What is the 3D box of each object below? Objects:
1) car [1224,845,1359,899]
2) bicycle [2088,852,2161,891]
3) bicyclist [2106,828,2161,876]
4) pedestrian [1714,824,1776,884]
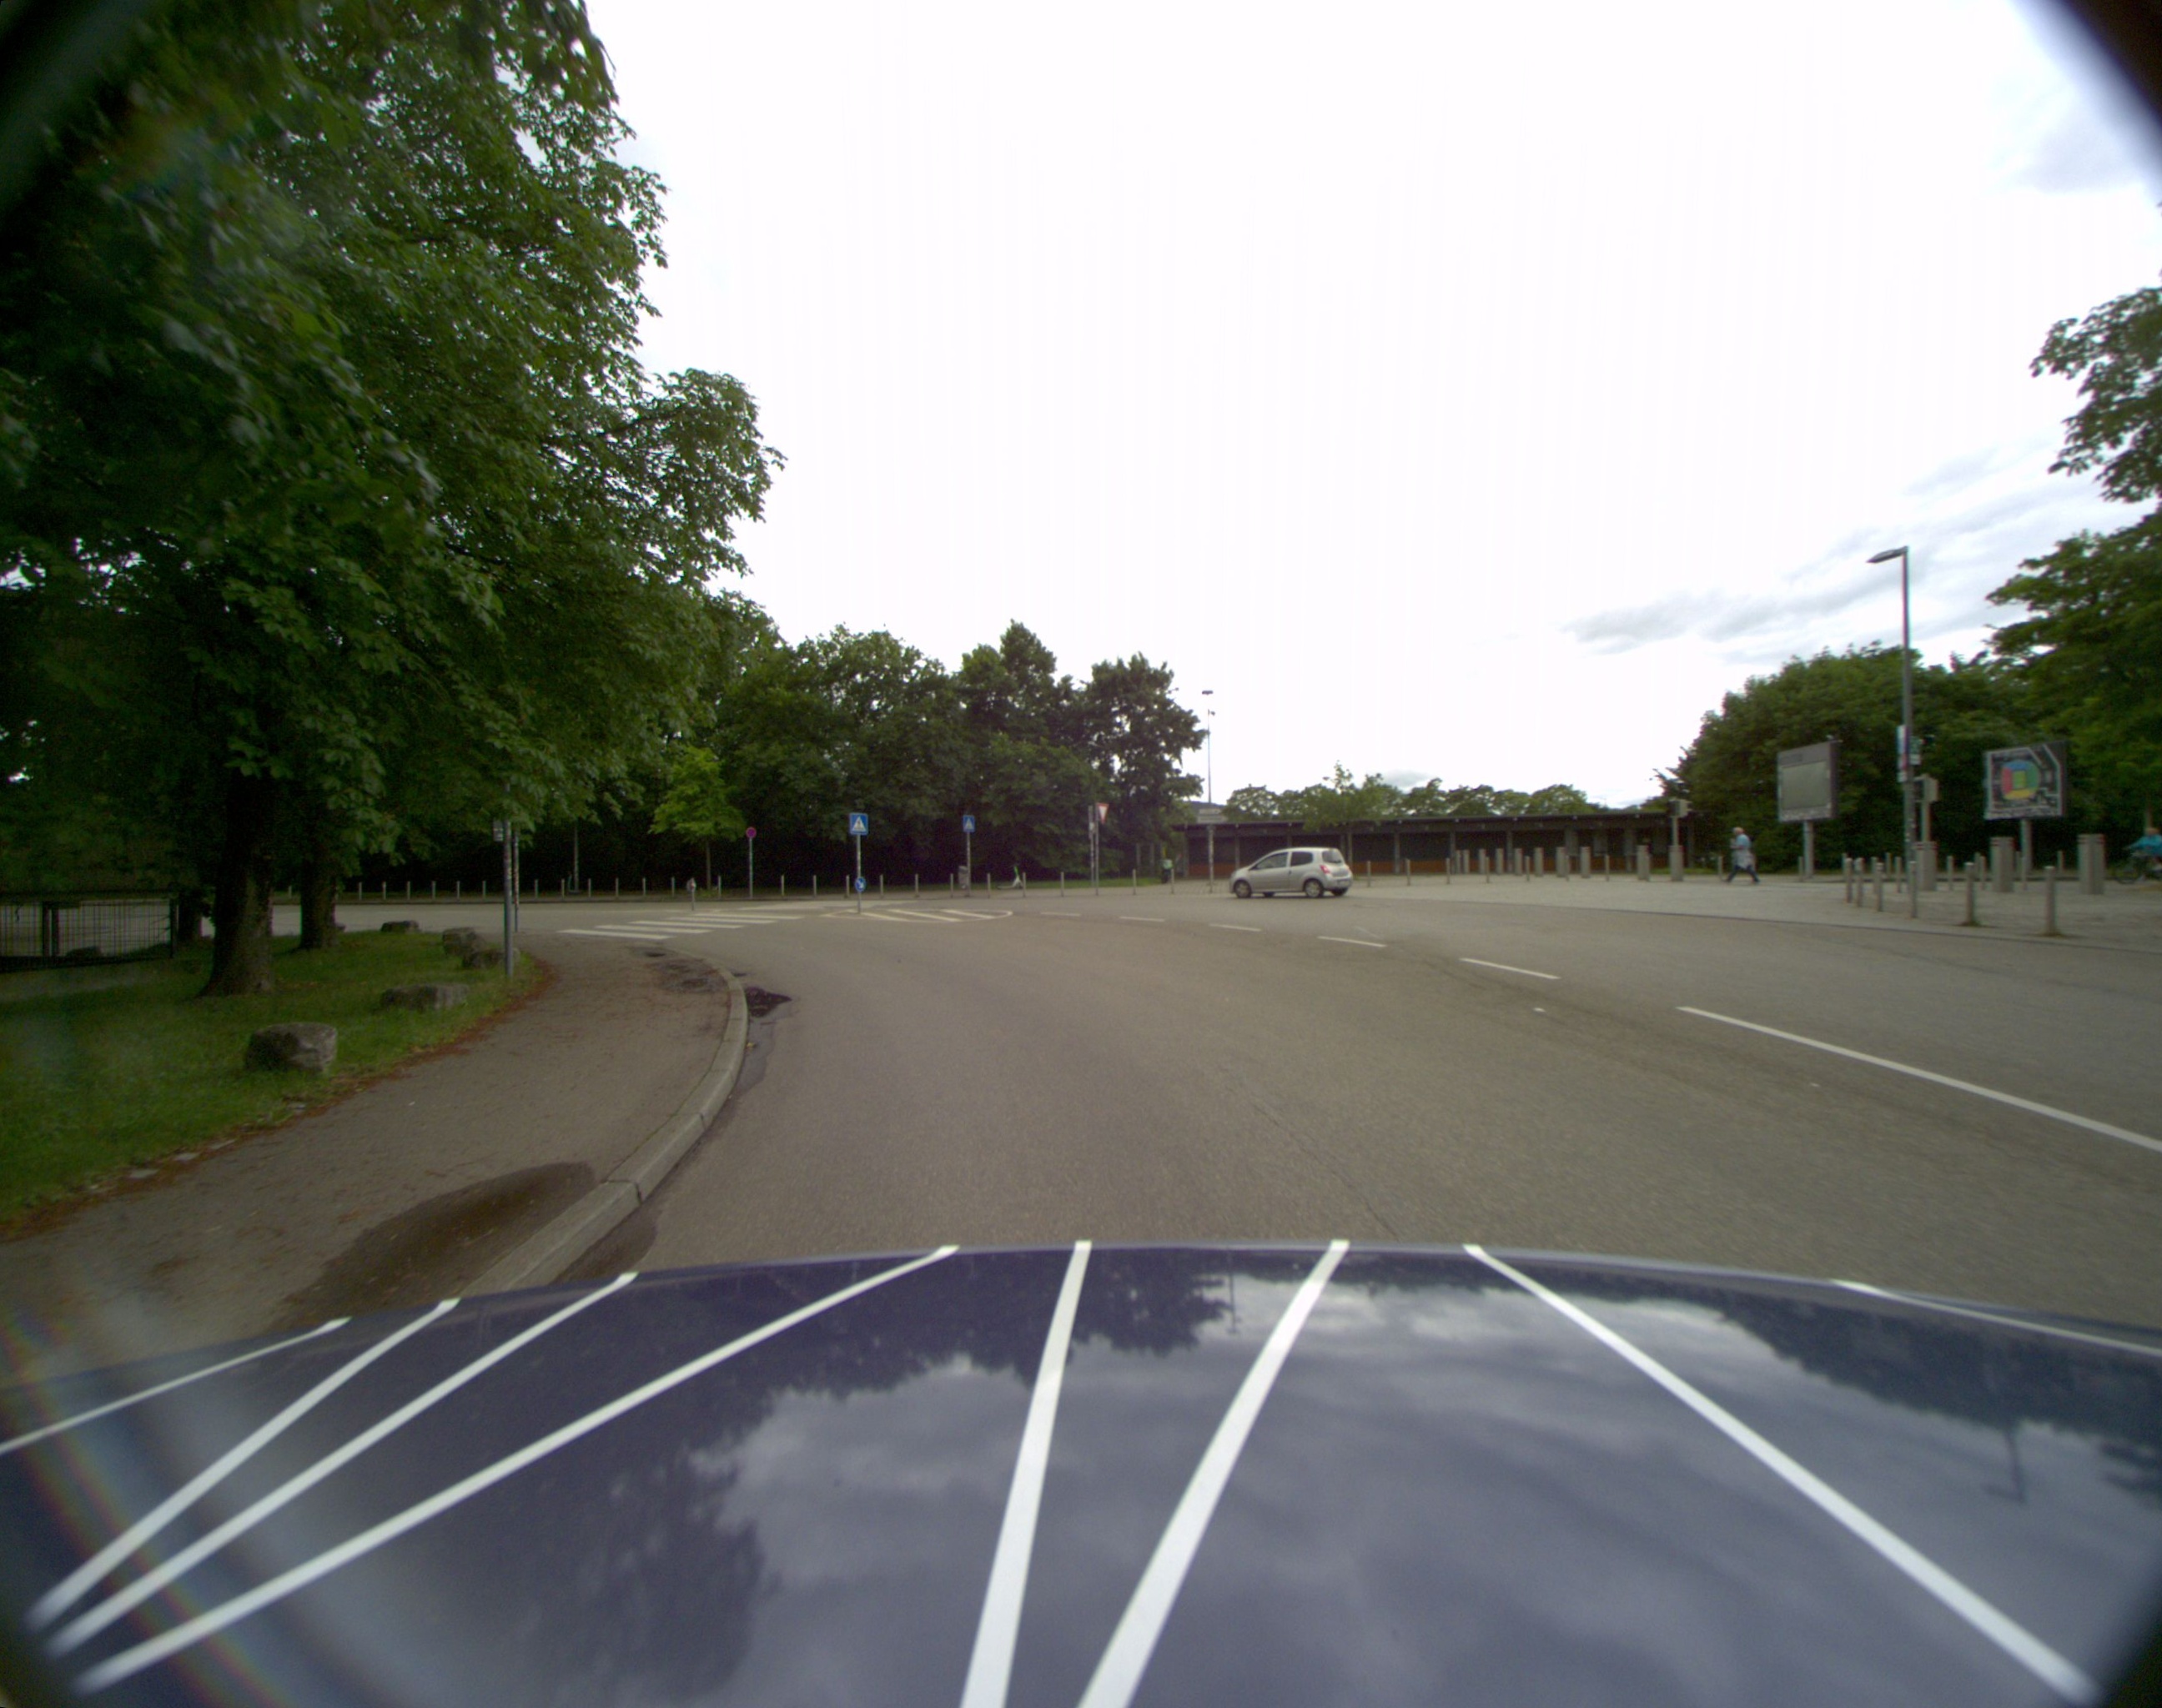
[{"bbox_3d":[6.216,0.511,22.677,1.610,1.447,3.493,-3,1,-45],"label":"car"},{"bbox_3d":[33.058,0.529,23.663,2.256,1.117,0.748,-2,1,3],"label":"bicycle"},{"bbox_3d":[33.015,-0.066,23.653,1.158,1.422,0.743,-2,1,3],"label":"bicyclist"},{"bbox_3d":[21.249,-0.008,24.320,0.928,1.823,1.199,-3,2,-22],"label":"pedestrian"}]
